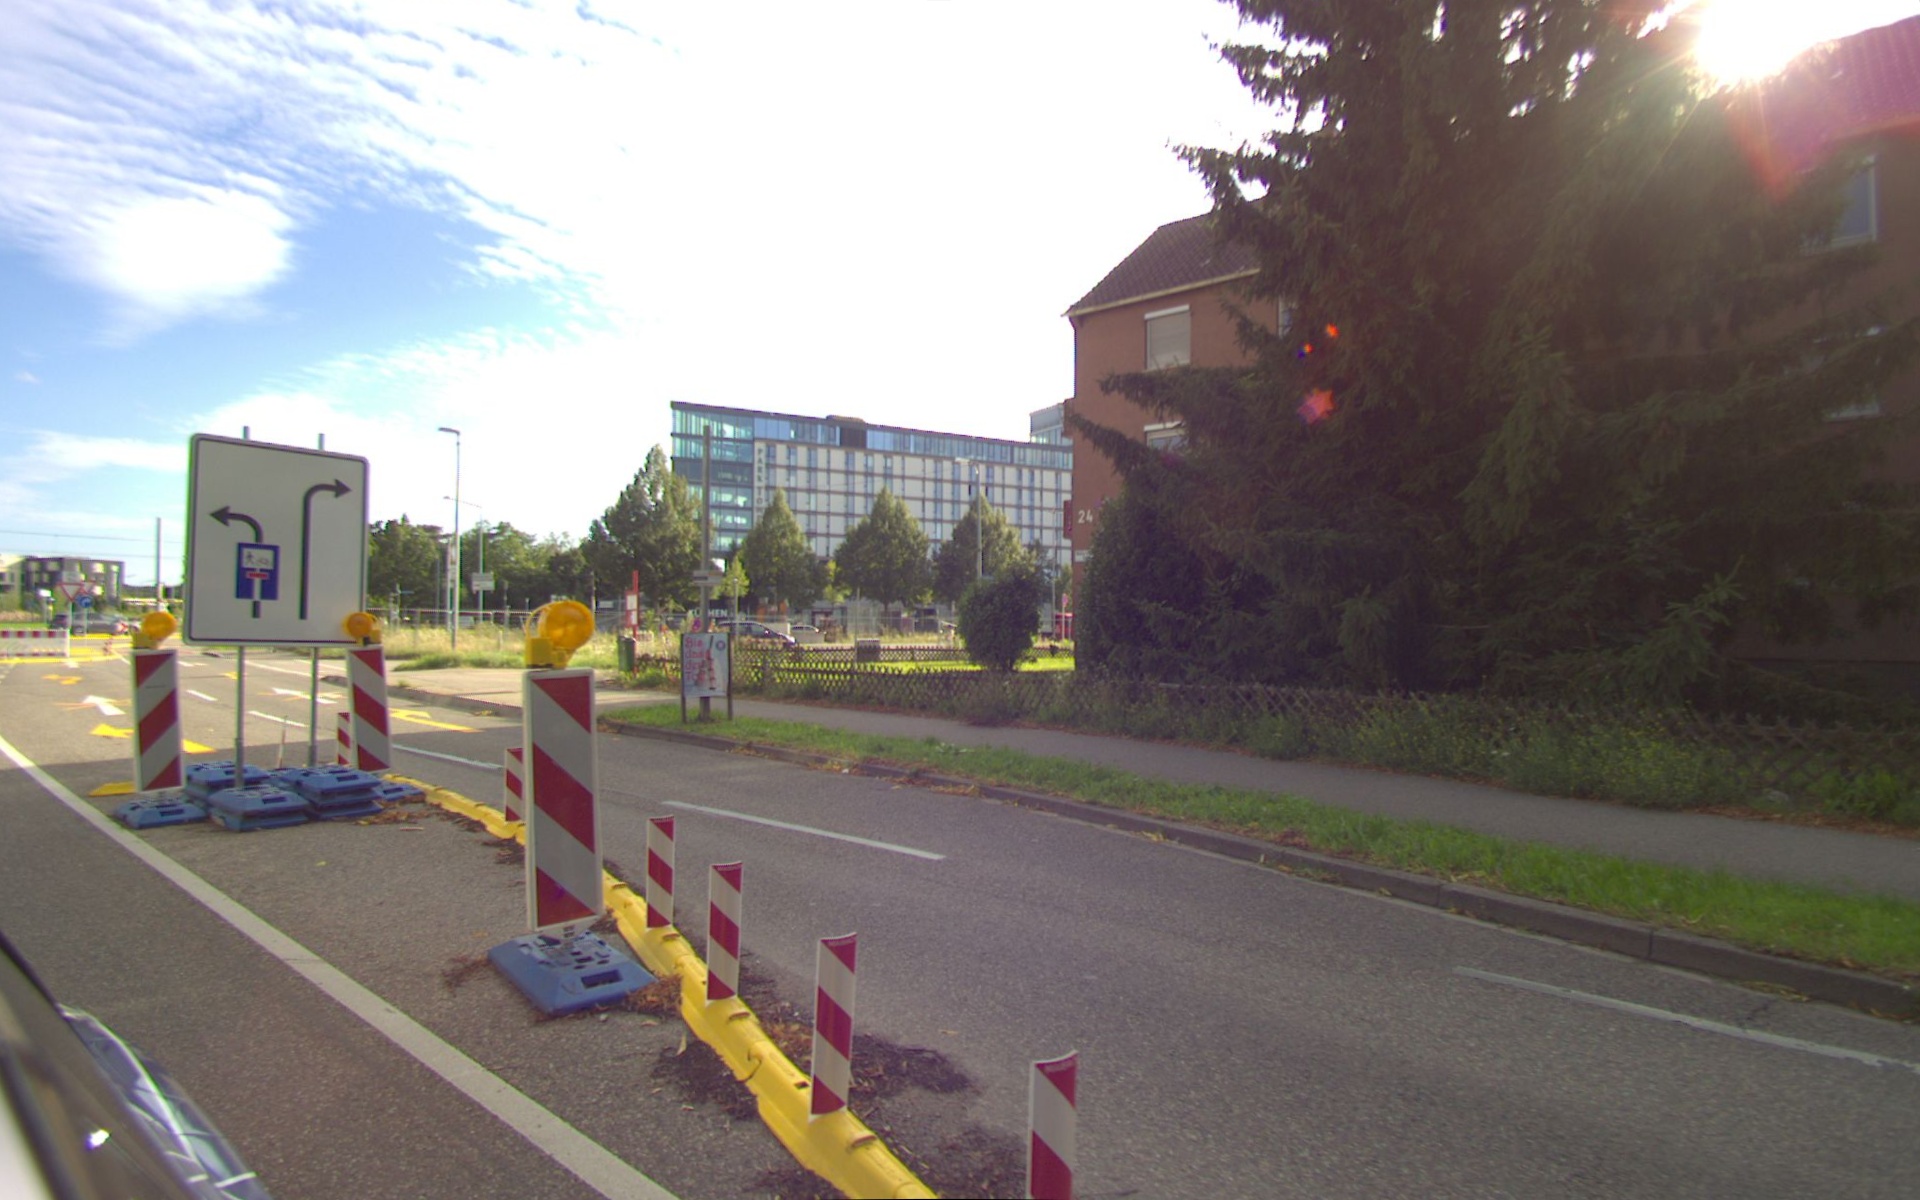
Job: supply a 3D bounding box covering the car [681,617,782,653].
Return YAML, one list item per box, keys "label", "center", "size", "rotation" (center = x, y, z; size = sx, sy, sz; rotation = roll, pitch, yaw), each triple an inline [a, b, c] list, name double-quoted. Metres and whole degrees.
- label: "car"
  center: [-10.910, 1.666, 48.536]
  size: [4.357, 1.670, 1.997]
  rotation: [0, 0, 5]

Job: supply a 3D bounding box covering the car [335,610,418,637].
- label: "car"
  center: [-47.556, 1.911, 82.632]
  size: [2.456, 2.074, 5.774]
  rotation: [0, 0, 16]

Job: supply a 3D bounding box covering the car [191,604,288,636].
- label: "car"
  center: [-50.468, 1.359, 71.044]
  size: [2.449, 2.074, 5.489]
  rotation: [0, 0, 8]

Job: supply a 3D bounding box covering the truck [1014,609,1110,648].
- label: "truck"
  center: [7.889, 2.147, 79.576]
  size: [3.305, 2.875, 8.137]
  rotation: [0, 0, -31]

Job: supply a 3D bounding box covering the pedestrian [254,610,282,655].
- label: "pedestrian"
  center: [-28.770, 1.341, 42.079]
  size: [0.740, 1.838, 0.705]
  rotation: [-1, -1, 21]

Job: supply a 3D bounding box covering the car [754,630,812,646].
- label: "car"
  center: [-15.875, 3.396, 90.681]
  size: [4.728, 1.362, 2.007]
  rotation: [1, -1, -23]

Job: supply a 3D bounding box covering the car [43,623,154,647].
- label: "car"
  center: [-52.055, 2.059, 61.252]
  size: [1.985, 1.362, 4.780]
  rotation: [0, -1, 20]
